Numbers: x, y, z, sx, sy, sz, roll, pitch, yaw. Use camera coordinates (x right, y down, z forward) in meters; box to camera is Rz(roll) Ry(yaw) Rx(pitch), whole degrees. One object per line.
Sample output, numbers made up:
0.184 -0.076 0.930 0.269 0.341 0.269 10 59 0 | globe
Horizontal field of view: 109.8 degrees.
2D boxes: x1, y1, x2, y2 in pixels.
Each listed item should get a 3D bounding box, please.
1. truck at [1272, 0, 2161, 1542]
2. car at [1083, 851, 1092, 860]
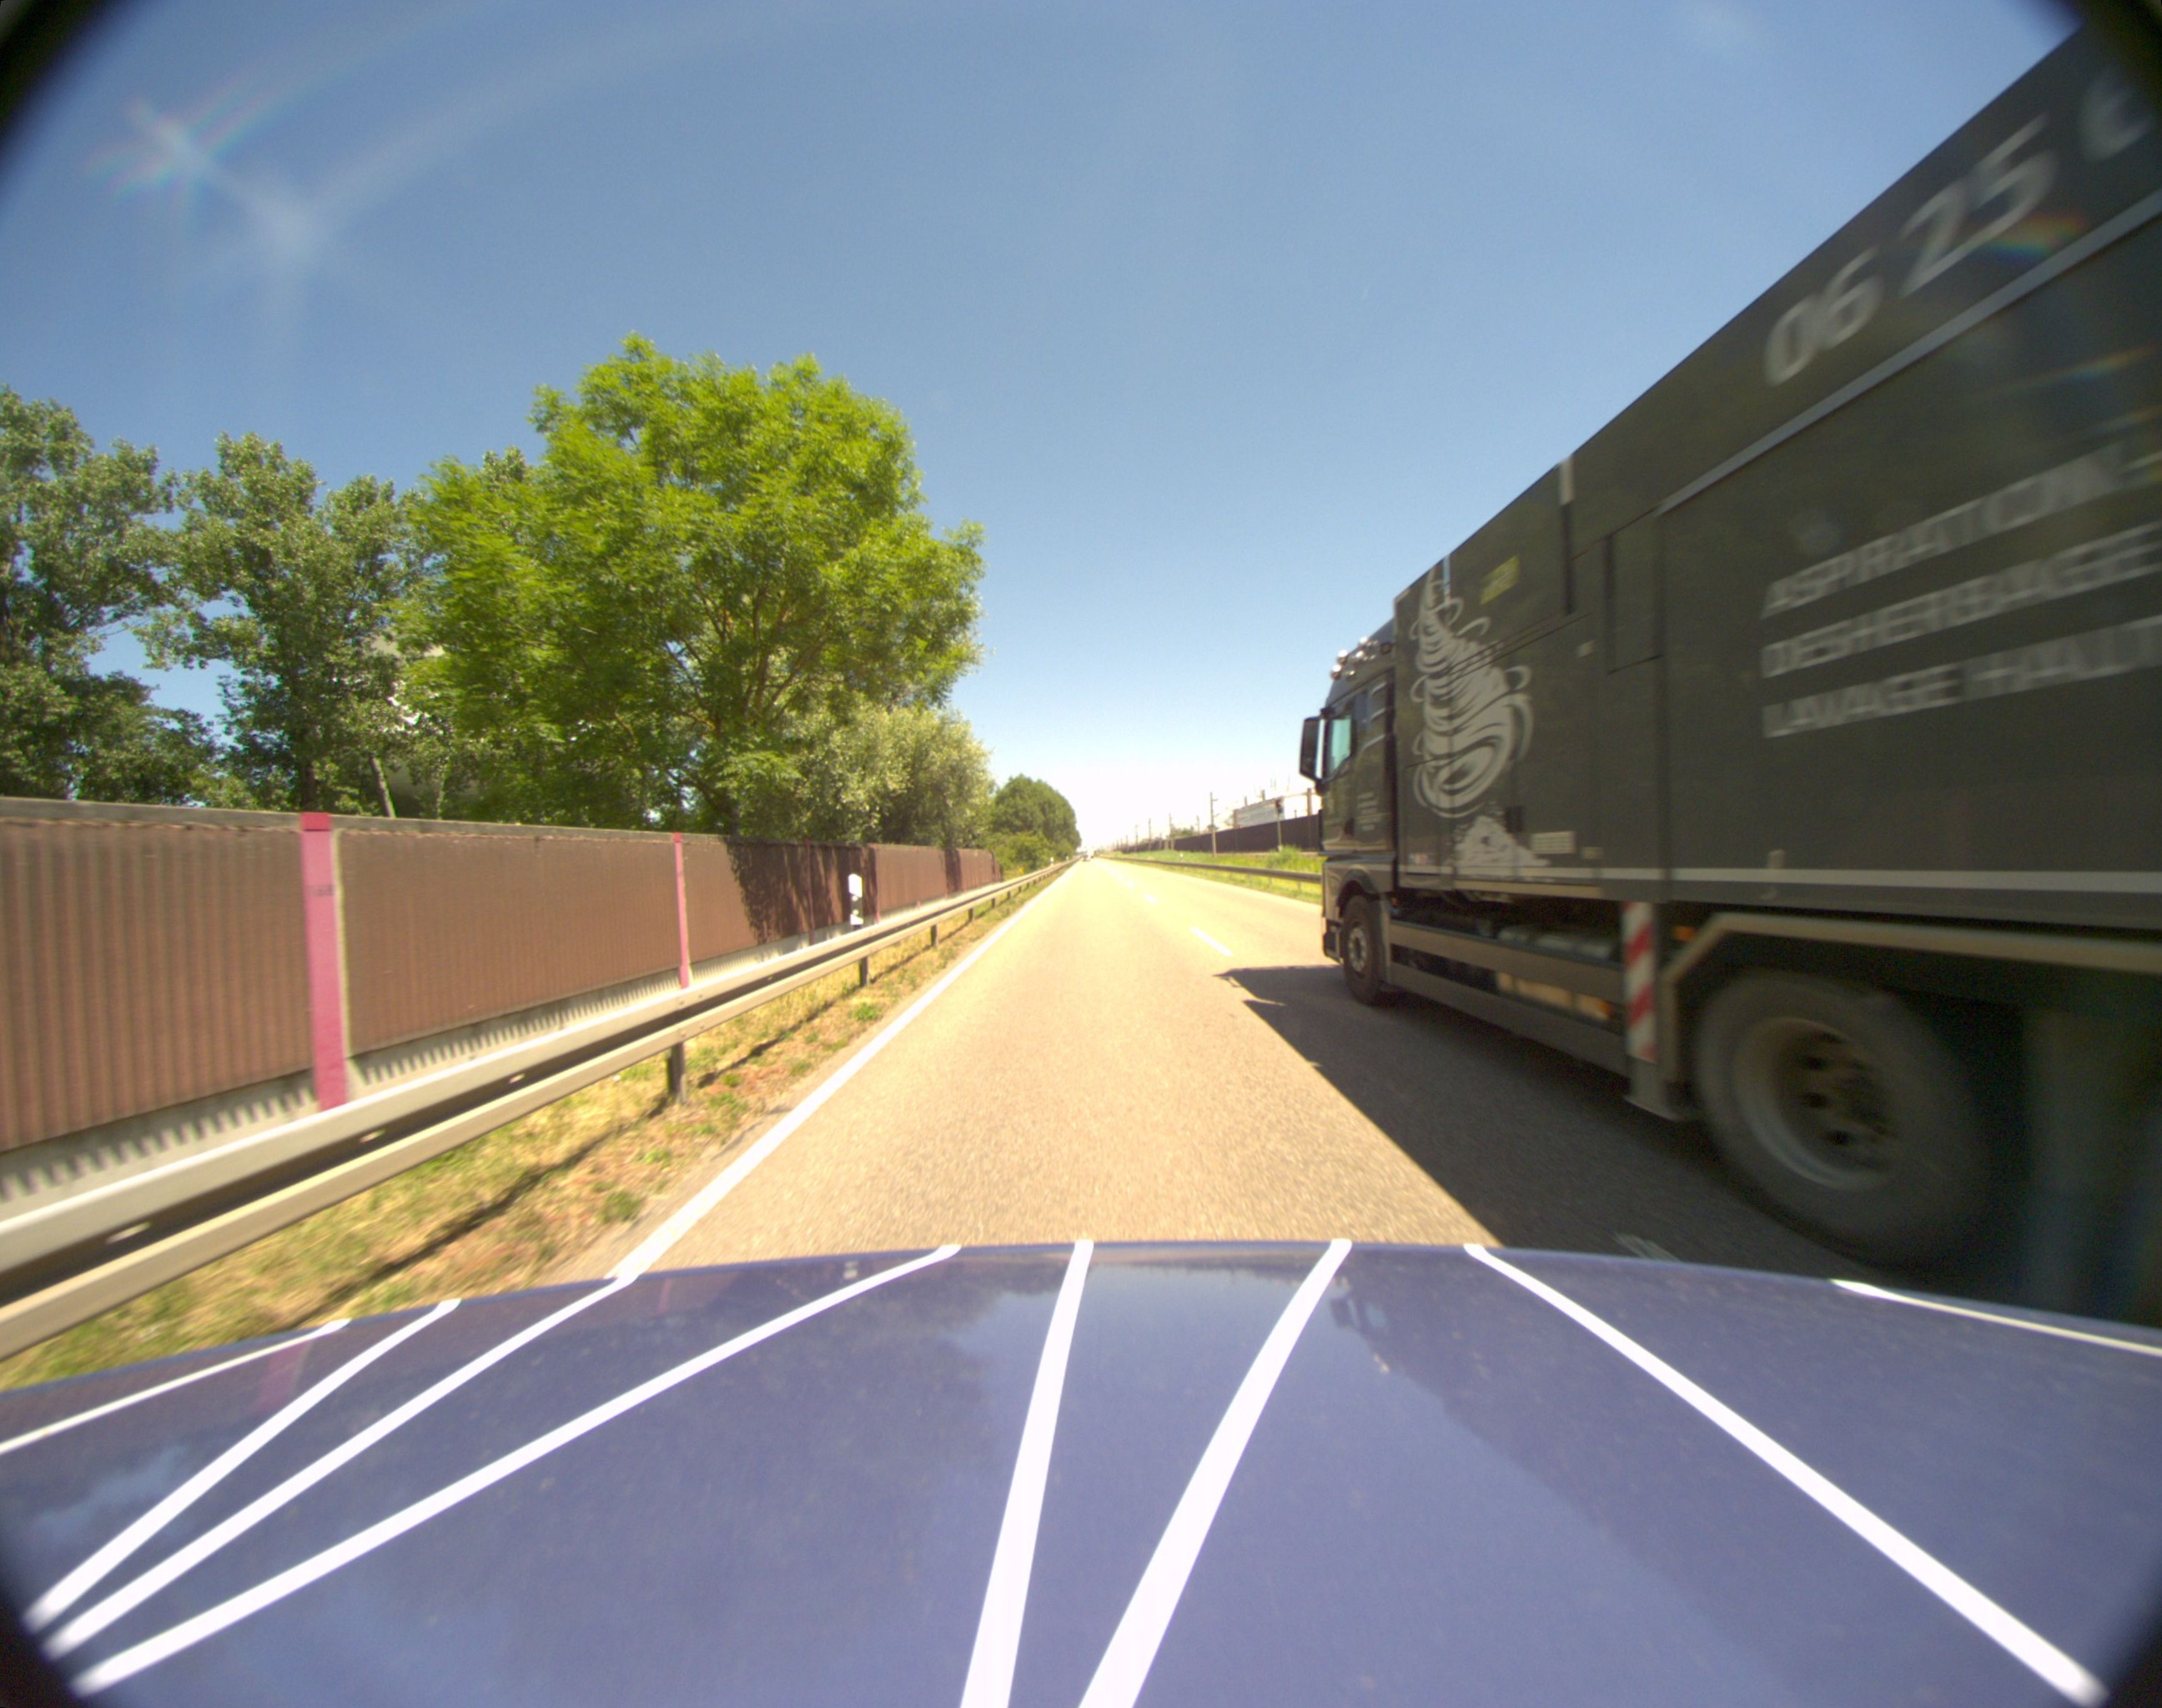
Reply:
3.677 -0.310 3.504 2.665 3.605 10.976 -2 0 0 | truck
1.547 0.421 178.019 1.999 2.002 3.999 -2 0 -1 | car
